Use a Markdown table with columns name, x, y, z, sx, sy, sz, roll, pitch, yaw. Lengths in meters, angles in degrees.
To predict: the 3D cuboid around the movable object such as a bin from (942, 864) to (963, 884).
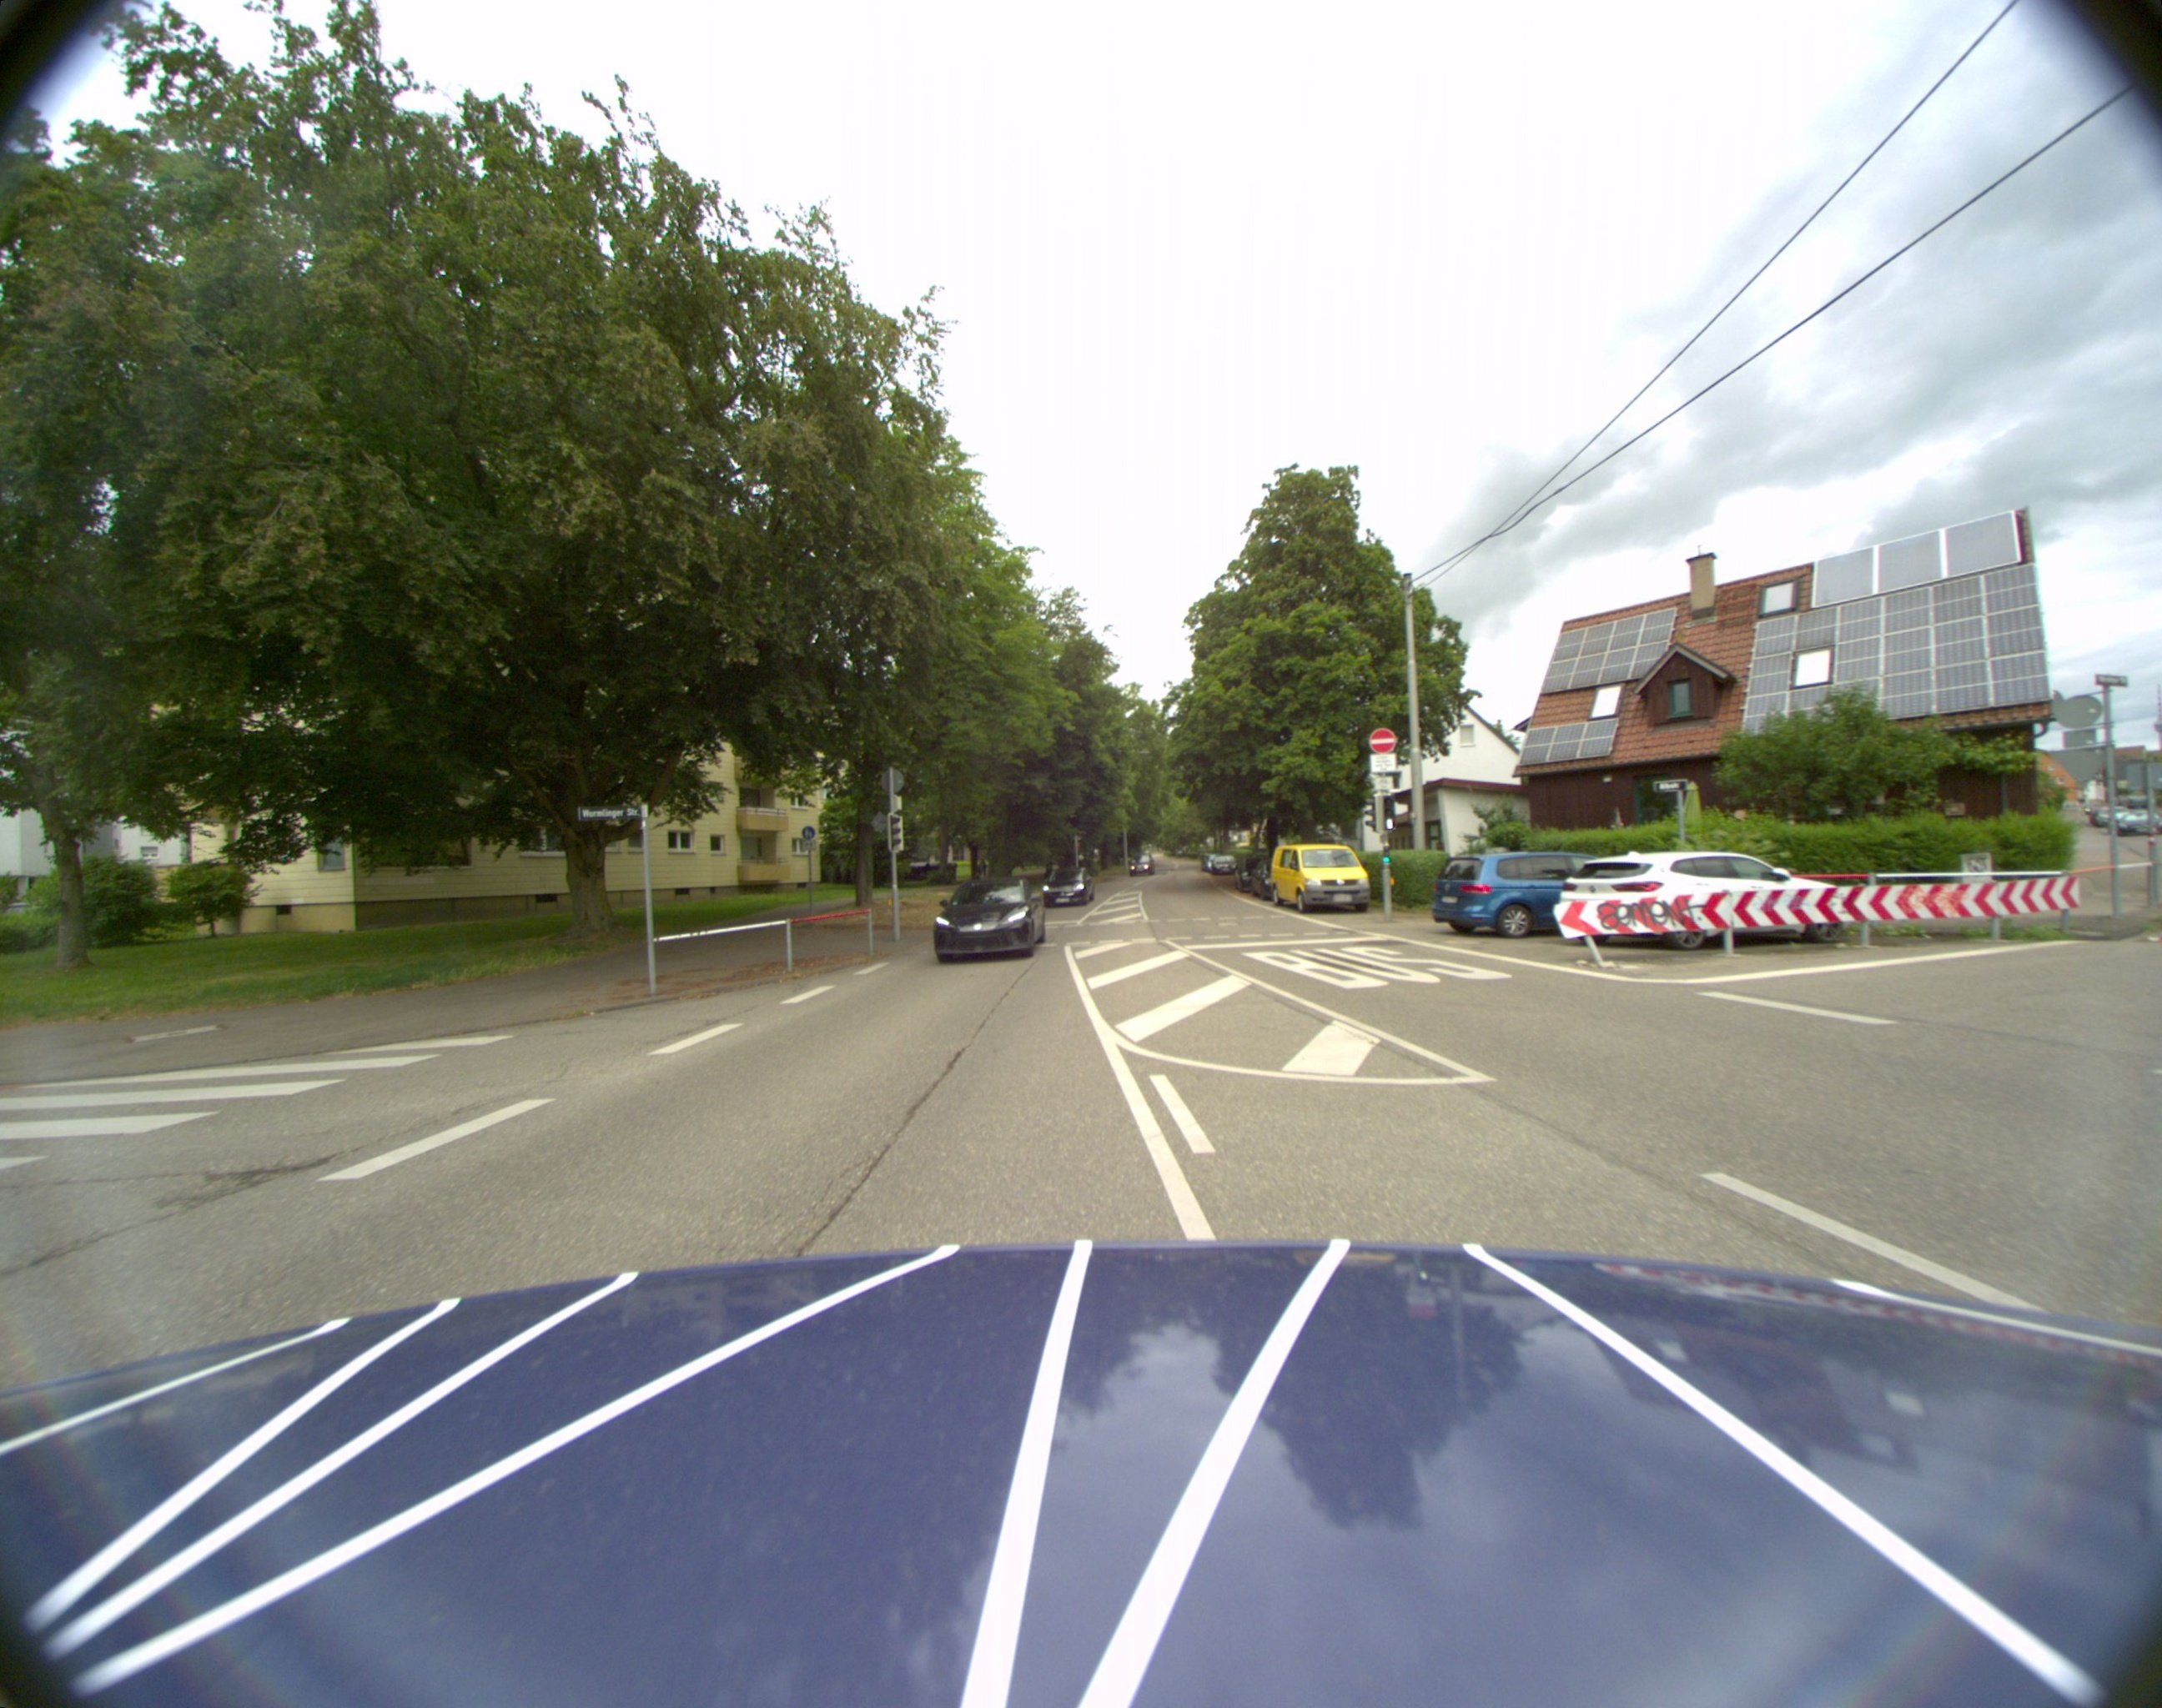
| name | x | y | z | sx | sy | sz | roll | pitch | yaw |
| --- | --- | --- | --- | --- | --- | --- | --- | --- | --- |
| movable object such as a bin | -9.926 | 1.542 | 58.751 | 1.327 | 1.466 | 1.202 | -1 | 1 | 4 |

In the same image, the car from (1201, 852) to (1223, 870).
| name | x | y | z | sx | sy | sz | roll | pitch | yaw |
| --- | --- | --- | --- | --- | --- | --- | --- | --- | --- |
| car | 11.030 | 0.591 | 64.305 | 1.540 | 1.368 | 3.774 | -2 | 0 | 6 |

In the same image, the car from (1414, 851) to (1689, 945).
| name | x | y | z | sx | sy | sz | roll | pitch | yaw |
| --- | --- | --- | --- | --- | --- | --- | --- | --- | --- |
| car | 8.982 | 0.812 | 14.742 | 4.177 | 1.537 | 1.845 | -2 | -1 | -3 |

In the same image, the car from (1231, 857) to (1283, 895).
| name | x | y | z | sx | sy | sz | roll | pitch | yaw |
| --- | --- | --- | --- | --- | --- | --- | --- | --- | --- |
| car | 7.779 | 0.931 | 33.948 | 1.748 | 1.442 | 4.595 | -2 | 0 | 7 |

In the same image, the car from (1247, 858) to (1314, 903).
| name | x | y | z | sx | sy | sz | roll | pitch | yaw |
| --- | --- | --- | --- | --- | --- | --- | --- | --- | --- |
| car | 7.402 | 0.930 | 28.640 | 1.749 | 1.442 | 4.515 | -2 | 0 | 6 |

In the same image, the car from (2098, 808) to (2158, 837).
| name | x | y | z | sx | sy | sz | roll | pitch | yaw |
| --- | --- | --- | --- | --- | --- | --- | --- | --- | --- |
| car | 60.898 | -1.811 | 44.243 | 3.691 | 1.480 | 1.770 | -1 | -1 | -40 |

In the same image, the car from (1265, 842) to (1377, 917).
| name | x | y | z | sx | sy | sz | roll | pitch | yaw |
| --- | --- | --- | --- | --- | --- | --- | --- | --- | --- |
| car | 7.081 | 0.687 | 23.008 | 1.921 | 1.978 | 4.800 | -2 | 0 | 1 |

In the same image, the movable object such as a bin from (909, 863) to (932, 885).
| name | x | y | z | sx | sy | sz | roll | pitch | yaw |
| --- | --- | --- | --- | --- | --- | --- | --- | --- | --- |
| movable object such as a bin | -11.886 | 1.476 | 56.427 | 1.434 | 1.633 | 1.020 | -1 | 2 | 4 |

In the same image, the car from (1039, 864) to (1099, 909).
| name | x | y | z | sx | sy | sz | roll | pitch | yaw |
| --- | --- | --- | --- | --- | --- | --- | --- | --- | --- |
| car | -0.403 | 1.258 | 30.841 | 1.813 | 1.520 | 4.001 | -2 | 1 | 8 |

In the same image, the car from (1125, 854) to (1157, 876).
| name | x | y | z | sx | sy | sz | roll | pitch | yaw |
| --- | --- | --- | --- | --- | --- | --- | --- | --- | --- |
| car | 4.931 | 0.874 | 61.702 | 1.997 | 1.586 | 4.003 | -2 | 0 | 12 |

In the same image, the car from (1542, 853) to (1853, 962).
| name | x | y | z | sx | sy | sz | roll | pitch | yaw |
| --- | --- | --- | --- | --- | --- | --- | --- | --- | --- |
| car | 10.012 | 0.808 | 12.478 | 3.905 | 1.463 | 1.844 | -2 | -1 | -11 |

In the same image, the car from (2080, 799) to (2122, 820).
| name | x | y | z | sx | sy | sz | roll | pitch | yaw |
| --- | --- | --- | --- | --- | --- | --- | --- | --- | --- |
| car | 81.853 | -3.520 | 61.004 | 3.691 | 1.480 | 1.770 | -1 | -1 | -40 |

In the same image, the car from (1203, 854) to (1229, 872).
| name | x | y | z | sx | sy | sz | roll | pitch | yaw |
| --- | --- | --- | --- | --- | --- | --- | --- | --- | --- |
| car | 10.678 | 0.684 | 60.306 | 1.636 | 1.368 | 4.154 | -2 | 0 | 6 |

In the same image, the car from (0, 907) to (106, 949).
| name | x | y | z | sx | sy | sz | roll | pitch | yaw |
| --- | --- | --- | --- | --- | --- | --- | --- | --- | --- |
| car | -43.679 | 3.087 | 32.307 | 1.798 | 1.404 | 4.061 | -1 | 0 | -38 |

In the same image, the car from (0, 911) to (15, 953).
| name | x | y | z | sx | sy | sz | roll | pitch | yaw |
| --- | --- | --- | --- | --- | --- | --- | --- | --- | --- |
| car | -37.251 | 2.683 | 24.770 | 1.798 | 1.404 | 4.061 | -1 | 0 | -38 |

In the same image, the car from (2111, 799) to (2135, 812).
| name | x | y | z | sx | sy | sz | roll | pitch | yaw |
| --- | --- | --- | --- | --- | --- | --- | --- | --- | --- |
| car | 147.353 | -6.836 | 107.460 | 3.691 | 1.480 | 1.770 | -1 | -1 | -40 |

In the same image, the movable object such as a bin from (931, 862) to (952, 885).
| name | x | y | z | sx | sy | sz | roll | pitch | yaw |
| --- | --- | --- | --- | --- | --- | --- | --- | --- | --- |
| movable object such as a bin | -10.349 | 1.457 | 56.397 | 1.277 | 1.633 | 1.020 | -1 | 2 | 4 |

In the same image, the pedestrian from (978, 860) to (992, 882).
| name | x | y | z | sx | sy | sz | roll | pitch | yaw |
| --- | --- | --- | --- | --- | --- | --- | --- | --- | --- |
| pedestrian | -6.204 | 1.100 | 49.186 | 0.688 | 1.373 | 0.606 | -2 | 1 | 7 |

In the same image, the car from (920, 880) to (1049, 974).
| name | x | y | z | sx | sy | sz | roll | pitch | yaw |
| --- | --- | --- | --- | --- | --- | --- | --- | --- | --- |
| car | -1.762 | 1.333 | 15.293 | 1.803 | 1.541 | 4.301 | -2 | -2 | 2 |

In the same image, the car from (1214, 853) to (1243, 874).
| name | x | y | z | sx | sy | sz | roll | pitch | yaw |
| --- | --- | --- | --- | --- | --- | --- | --- | --- | --- |
| car | 10.495 | 0.638 | 54.148 | 1.851 | 1.368 | 4.597 | -2 | 0 | 9 |
